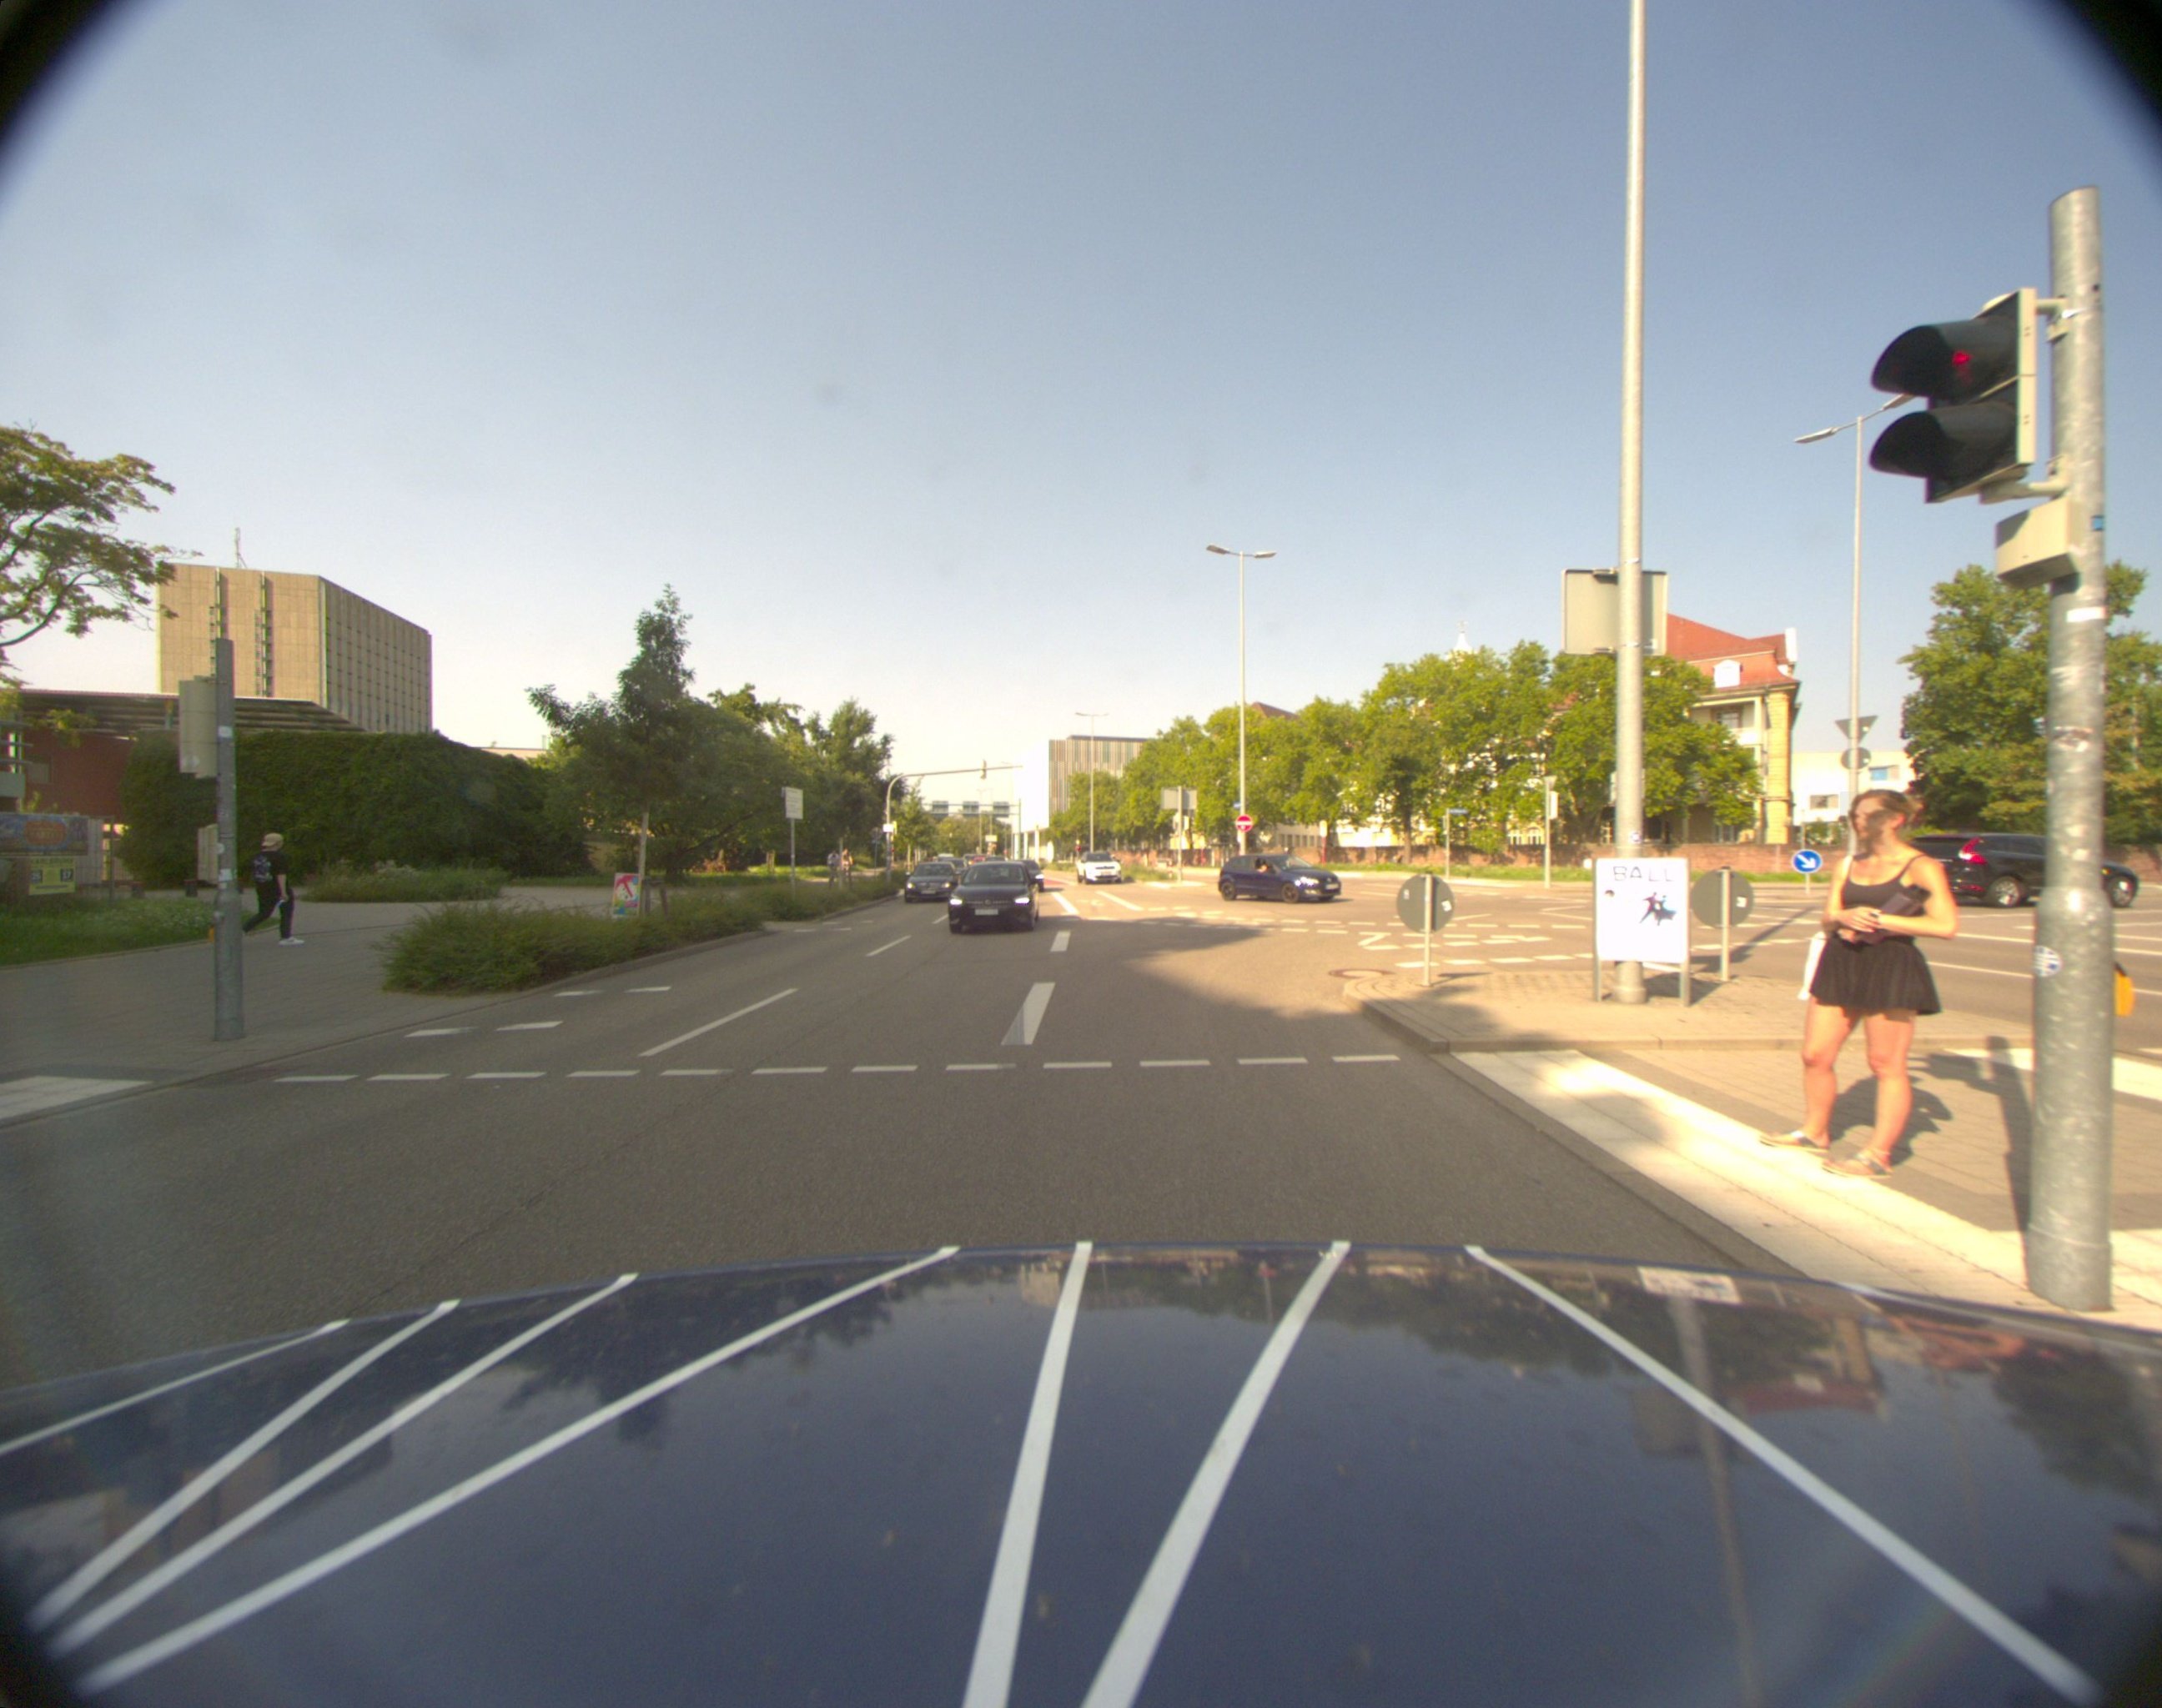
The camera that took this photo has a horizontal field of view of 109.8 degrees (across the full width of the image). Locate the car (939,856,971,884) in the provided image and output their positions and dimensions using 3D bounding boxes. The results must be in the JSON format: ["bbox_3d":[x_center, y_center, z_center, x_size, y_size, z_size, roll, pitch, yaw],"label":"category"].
[{"bbox_3d":[-7.020,0.843,42.588,1.688,1.483,4.669,0,0,-8],"label":"car"}]

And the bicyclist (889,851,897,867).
[{"bbox_3d":[-19.466,0.537,78.519,0.774,1.666,0.923,-1,1,-14],"label":"bicyclist"}]

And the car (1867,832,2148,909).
[{"bbox_3d":[21.037,0.347,17.370,4.371,1.624,1.999,0,1,-6],"label":"car"}]

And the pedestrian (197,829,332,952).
[{"bbox_3d":[-12.484,0.537,11.658,0.960,1.772,1.003,2,1,0],"label":"pedestrian"}]

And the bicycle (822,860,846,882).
[{"bbox_3d":[-13.032,0.878,40.172,0.773,1.111,2.302,0,0,-7],"label":"bicycle"}]

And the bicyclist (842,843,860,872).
[{"bbox_3d":[-12.701,0.210,42.058,0.773,1.584,0.923,-1,1,-7],"label":"bicyclist"}]

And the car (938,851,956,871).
[{"bbox_3d":[-13.742,0.694,77.720,1.689,1.930,4.367,0,0,-13],"label":"car"}]

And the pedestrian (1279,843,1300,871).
[{"bbox_3d":[15.165,0.192,55.292,1.079,2.002,1.317,-1,1,-7],"label":"pedestrian"}]

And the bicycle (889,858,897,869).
[{"bbox_3d":[-19.459,0.998,78.570,0.774,1.111,2.301,-1,0,-13],"label":"bicycle"}]

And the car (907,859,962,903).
[{"bbox_3d":[-5.408,0.960,28.435,1.688,1.434,4.369,-1,0,-7],"label":"car"}]

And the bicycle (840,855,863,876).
[{"bbox_3d":[-12.699,0.619,42.138,0.773,1.111,2.302,-1,0,-6],"label":"bicycle"}]

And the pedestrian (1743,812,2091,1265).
[{"bbox_3d":[3.410,0.687,3.175,0.668,1.689,0.692,0,1,2],"label":"pedestrian"}]

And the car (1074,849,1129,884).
[{"bbox_3d":[0.990,0.630,39.683,2.000,1.624,4.368,-3,0,-10],"label":"car"}]

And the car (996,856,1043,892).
[{"bbox_3d":[-2.816,0.830,33.848,1.838,1.427,4.547,-1,0,-7],"label":"car"}]

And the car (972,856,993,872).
[{"bbox_3d":[-9.185,0.904,70.436,1.688,1.483,4.368,0,0,-10],"label":"car"}]

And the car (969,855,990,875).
[{"bbox_3d":[-10.296,1.063,76.839,1.689,1.930,4.068,0,0,-12],"label":"car"}]

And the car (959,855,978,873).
[{"bbox_3d":[-12.795,1.128,86.273,1.689,1.930,4.068,0,0,-13],"label":"car"}]

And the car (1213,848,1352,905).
[{"bbox_3d":[5.867,0.664,22.545,1.628,1.489,3.841,-3,0,-32],"label":"car"}]

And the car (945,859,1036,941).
[{"bbox_3d":[-1.885,0.899,16.907,1.687,1.483,4.370,-2,0,-3],"label":"car"}]

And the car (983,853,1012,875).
[{"bbox_3d":[-5.943,0.652,53.742,1.688,1.483,4.368,0,0,-10],"label":"car"}]

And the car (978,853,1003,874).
[{"bbox_3d":[-7.422,0.719,62.159,1.784,1.597,4.416,0,1,-10],"label":"car"}]

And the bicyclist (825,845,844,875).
[{"bbox_3d":[-13.028,0.303,40.166,0.773,1.583,0.923,0,1,-7],"label":"bicyclist"}]

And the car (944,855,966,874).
[{"bbox_3d":[-10.104,0.817,60.721,1.688,1.483,4.368,0,0,-10],"label":"car"}]
